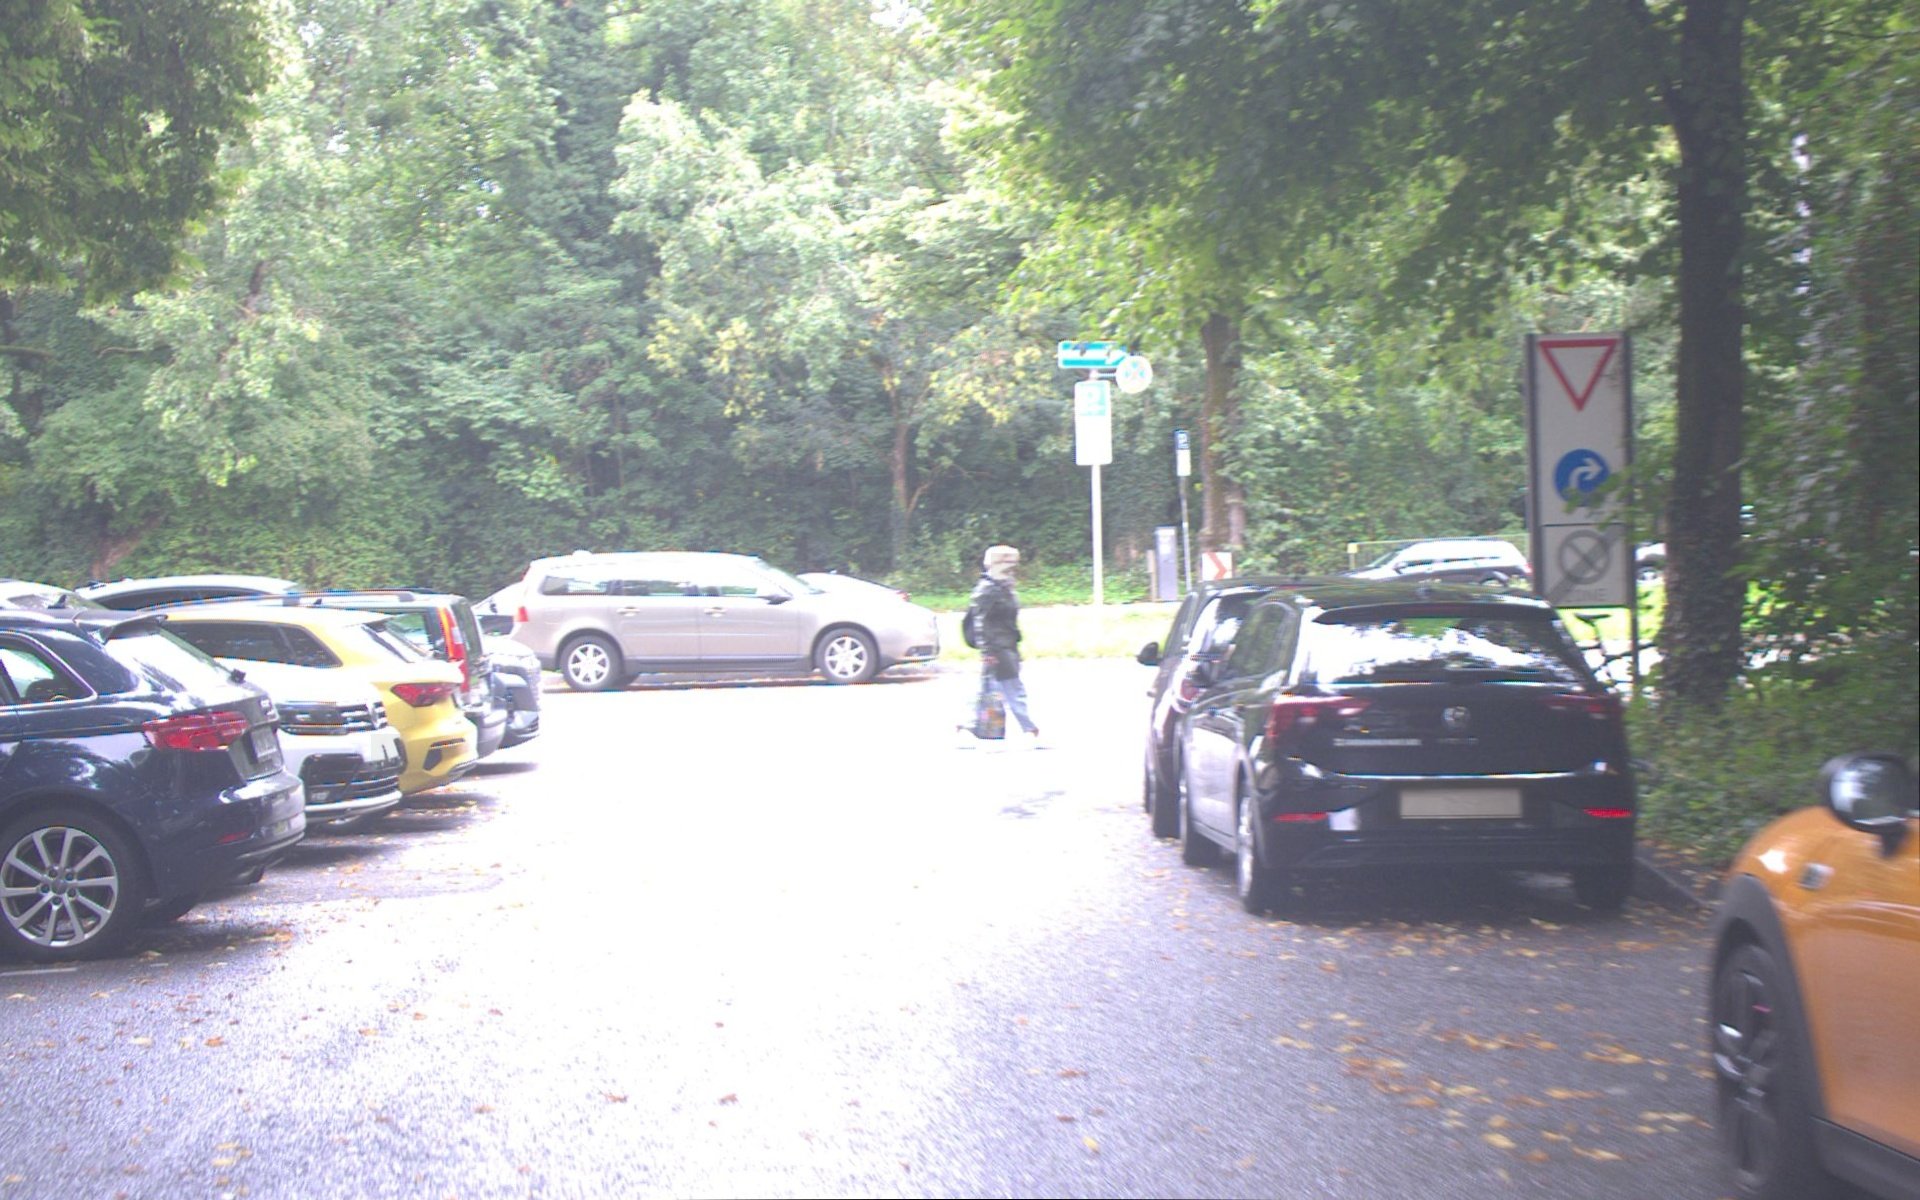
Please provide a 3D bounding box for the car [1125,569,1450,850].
[{"bbox_3d":[1.880,0.582,20.643,1.648,1.469,3.643,-2,1,1],"label":"car"}]

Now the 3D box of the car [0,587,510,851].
[{"bbox_3d":[-4.882,0.737,21.551,3.879,1.436,1.741,-3,1,-2],"label":"car"}]

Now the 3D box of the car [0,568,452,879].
[{"bbox_3d":[-5.259,0.683,19.267,4.449,1.591,1.835,-1,1,4],"label":"car"}]

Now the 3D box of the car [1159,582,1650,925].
[{"bbox_3d":[1.979,0.631,16.386,1.681,1.353,4.009,-1,1,-2],"label":"car"}]

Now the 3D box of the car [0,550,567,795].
[{"bbox_3d":[-5.243,0.531,26.618,4.162,1.595,1.736,-3,2,-1],"label":"car"}]

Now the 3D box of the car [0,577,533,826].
[{"bbox_3d":[-5.062,0.682,23.699,3.987,1.459,1.736,-3,2,-1],"label":"car"}]

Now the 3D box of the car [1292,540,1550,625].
[{"bbox_3d":[8.986,-0.351,67.184,4.580,1.467,1.932,-2,1,-9],"label":"car"}]

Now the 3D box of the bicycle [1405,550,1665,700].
[{"bbox_3d":[4.010,0.173,24.021,1.752,0.978,0.273,-2,1,8],"label":"bicycle"}]

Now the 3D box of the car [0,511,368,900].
[{"bbox_3d":[-5.250,0.538,16.718,4.313,1.725,1.848,-3,1,2],"label":"car"}]

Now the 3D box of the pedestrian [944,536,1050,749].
[{"bbox_3d":[0.299,0.326,27.113,0.779,1.612,0.761,-1,3,1],"label":"pedestrian"}]

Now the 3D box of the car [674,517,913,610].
[{"bbox_3d":[-3.179,-0.705,65.531,4.434,1.573,1.932,-2,1,-3],"label":"car"}]

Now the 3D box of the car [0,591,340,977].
[{"bbox_3d":[-4.721,0.780,14.162,3.987,1.428,1.736,-3,1,-1],"label":"car"}]

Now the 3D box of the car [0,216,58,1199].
[{"bbox_3d":[-4.736,0.374,8.358,4.573,2.369,1.903,-3,0,21],"label":"car"}]

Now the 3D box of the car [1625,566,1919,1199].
[{"bbox_3d":[2.601,0.650,6.544,1.618,1.407,3.781,-2,1,-5],"label":"car"}]

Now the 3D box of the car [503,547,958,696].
[{"bbox_3d":[-2.504,0.221,38.259,4.802,1.490,1.842,-1,1,4],"label":"car"}]
